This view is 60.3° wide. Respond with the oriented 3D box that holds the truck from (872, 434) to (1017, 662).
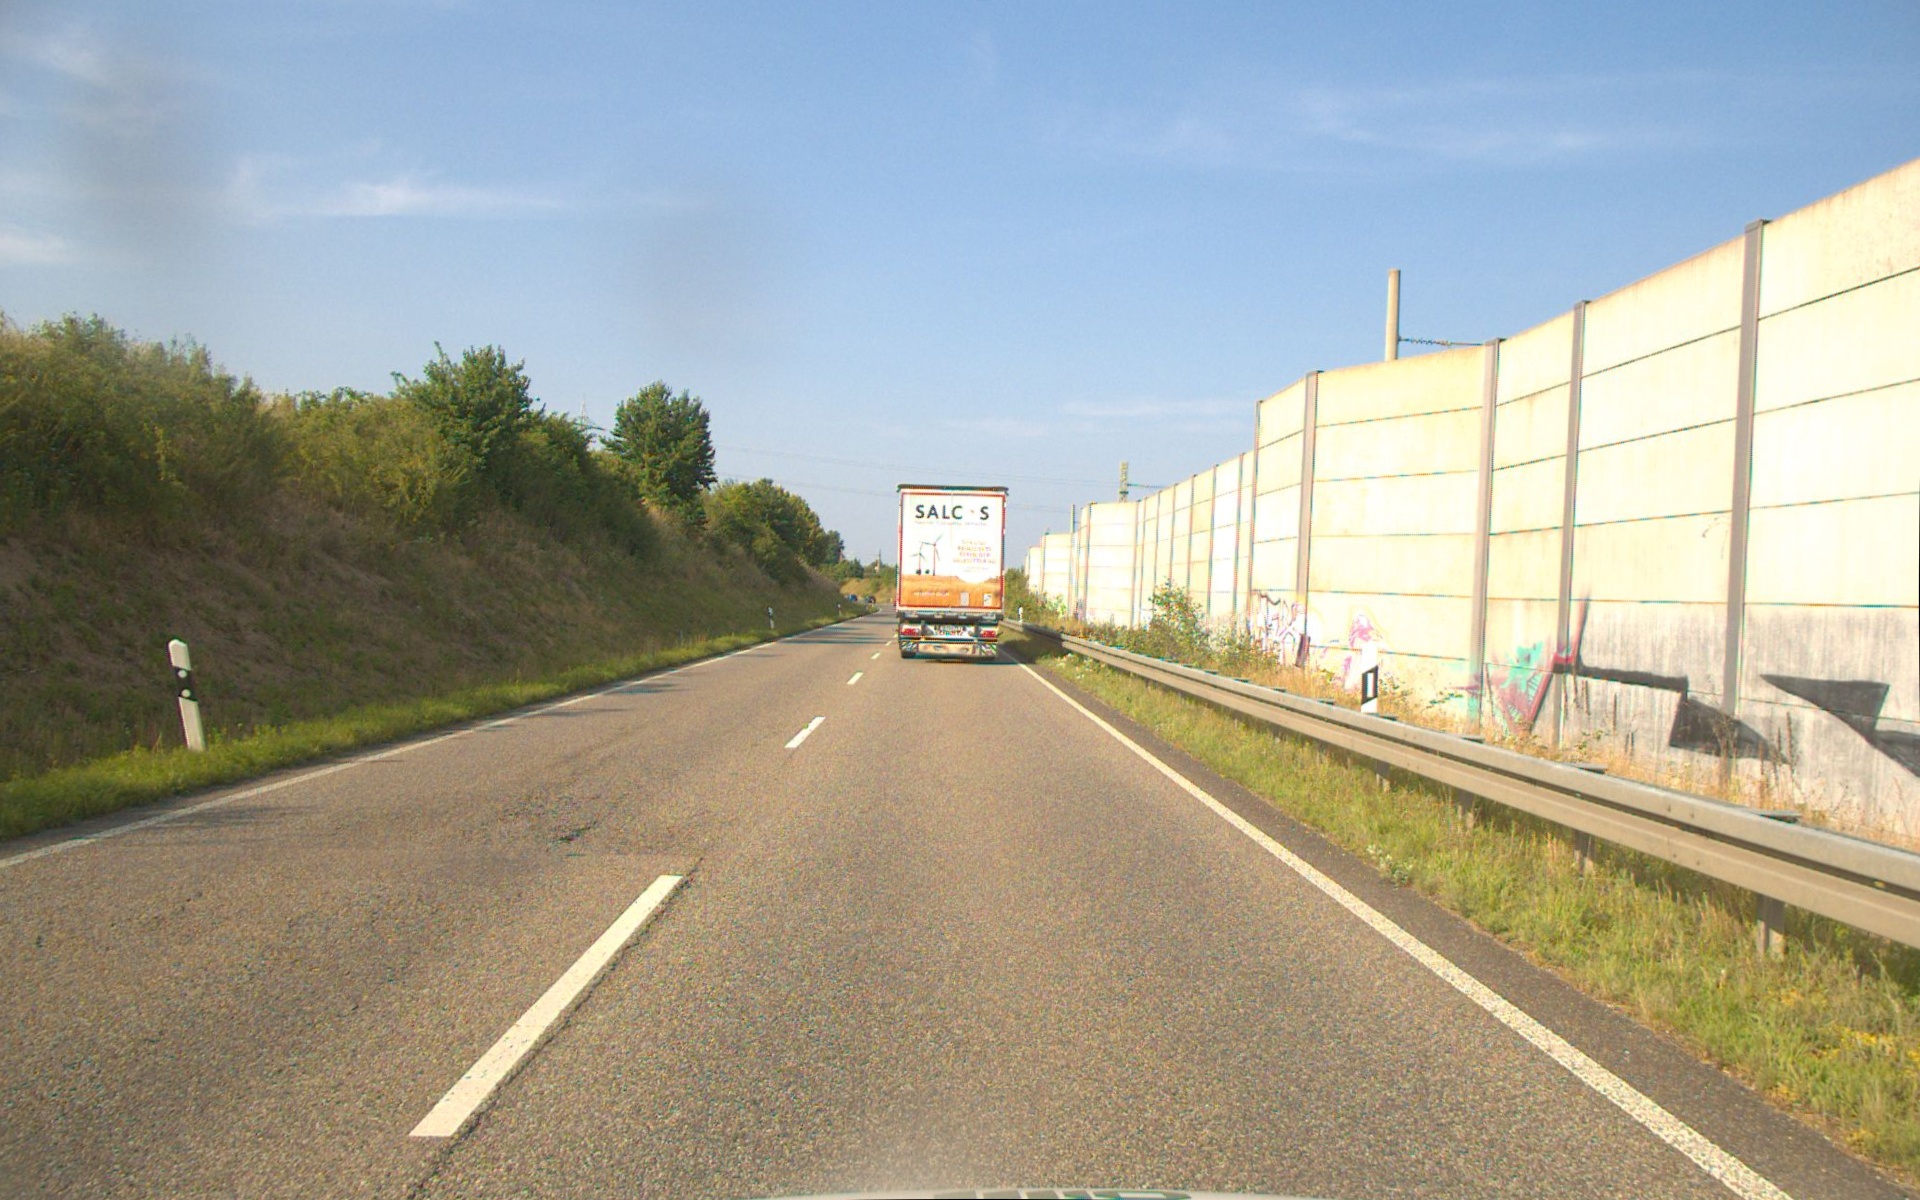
[{"bbox_3d":[-0.635,-1.281,44.139,3.225,5.178,12.031,1,1,-3],"label":"truck"}]
